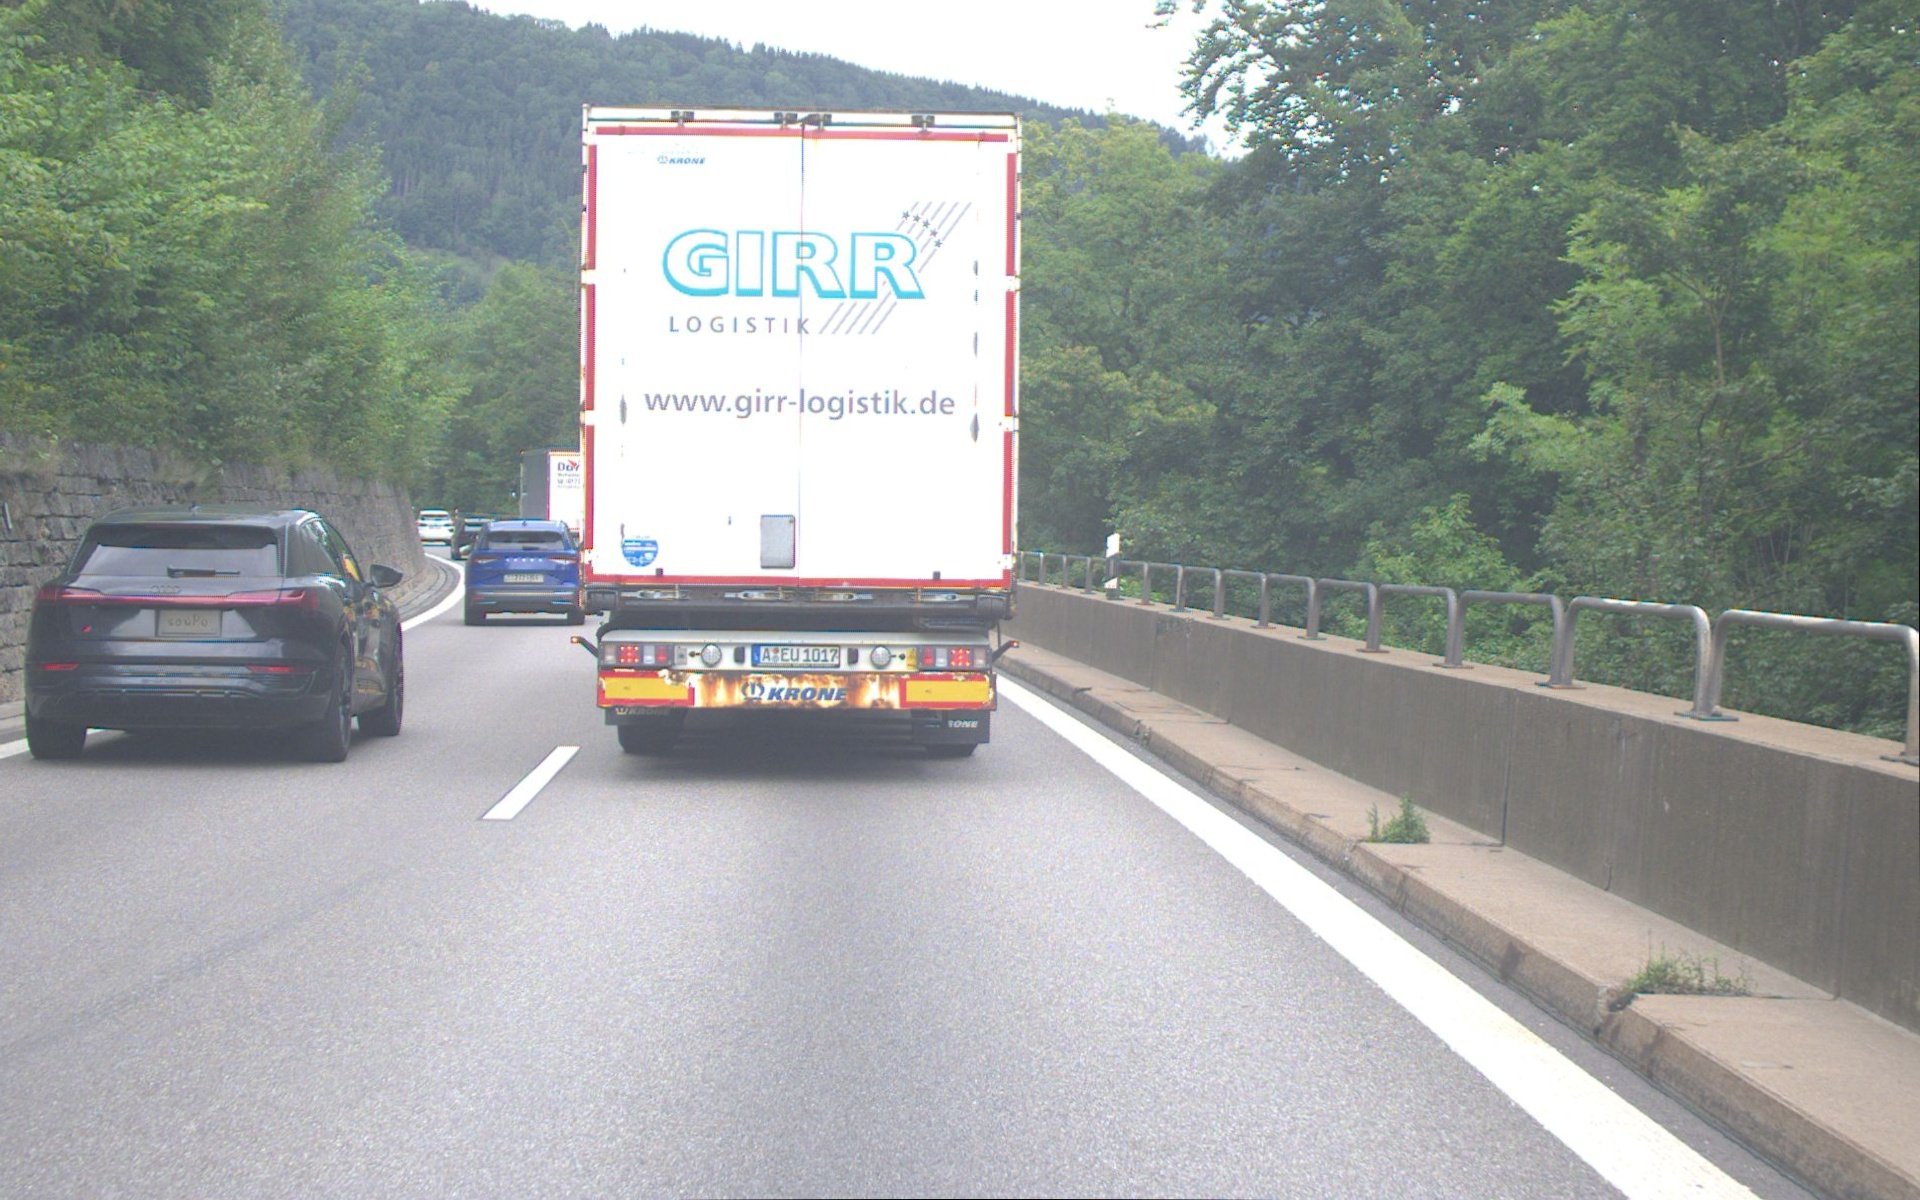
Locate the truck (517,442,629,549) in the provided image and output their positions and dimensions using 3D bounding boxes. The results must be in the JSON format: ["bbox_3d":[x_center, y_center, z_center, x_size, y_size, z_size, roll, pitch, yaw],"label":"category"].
[{"bbox_3d":[-14.724,-3.887,129.859,2.633,3.844,12.363,0,1,-14],"label":"truck"}]

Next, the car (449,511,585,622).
[{"bbox_3d":[-6.971,-0.567,53.793,1.993,1.626,5.010,-1,2,-8],"label":"car"}]

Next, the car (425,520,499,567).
[{"bbox_3d":[-17.607,-2.007,121.390,1.993,1.590,4.355,-1,2,-16],"label":"car"}]

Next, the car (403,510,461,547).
[{"bbox_3d":[-23.764,-3.227,154.653,1.896,1.545,4.251,1,1,-18],"label":"car"}]

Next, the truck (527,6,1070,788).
[{"bbox_3d":[-1.253,-1.294,27.240,3.084,4.448,15.157,0,1,-3],"label":"truck"}]

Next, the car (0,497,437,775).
[{"bbox_3d":[-4.791,0.172,22.928,1.993,1.626,5.009,1,1,-2],"label":"car"}]

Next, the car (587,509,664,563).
[{"bbox_3d":[-10.522,-2.002,107.890,2.060,1.648,4.001,0,1,-10],"label":"car"}]
